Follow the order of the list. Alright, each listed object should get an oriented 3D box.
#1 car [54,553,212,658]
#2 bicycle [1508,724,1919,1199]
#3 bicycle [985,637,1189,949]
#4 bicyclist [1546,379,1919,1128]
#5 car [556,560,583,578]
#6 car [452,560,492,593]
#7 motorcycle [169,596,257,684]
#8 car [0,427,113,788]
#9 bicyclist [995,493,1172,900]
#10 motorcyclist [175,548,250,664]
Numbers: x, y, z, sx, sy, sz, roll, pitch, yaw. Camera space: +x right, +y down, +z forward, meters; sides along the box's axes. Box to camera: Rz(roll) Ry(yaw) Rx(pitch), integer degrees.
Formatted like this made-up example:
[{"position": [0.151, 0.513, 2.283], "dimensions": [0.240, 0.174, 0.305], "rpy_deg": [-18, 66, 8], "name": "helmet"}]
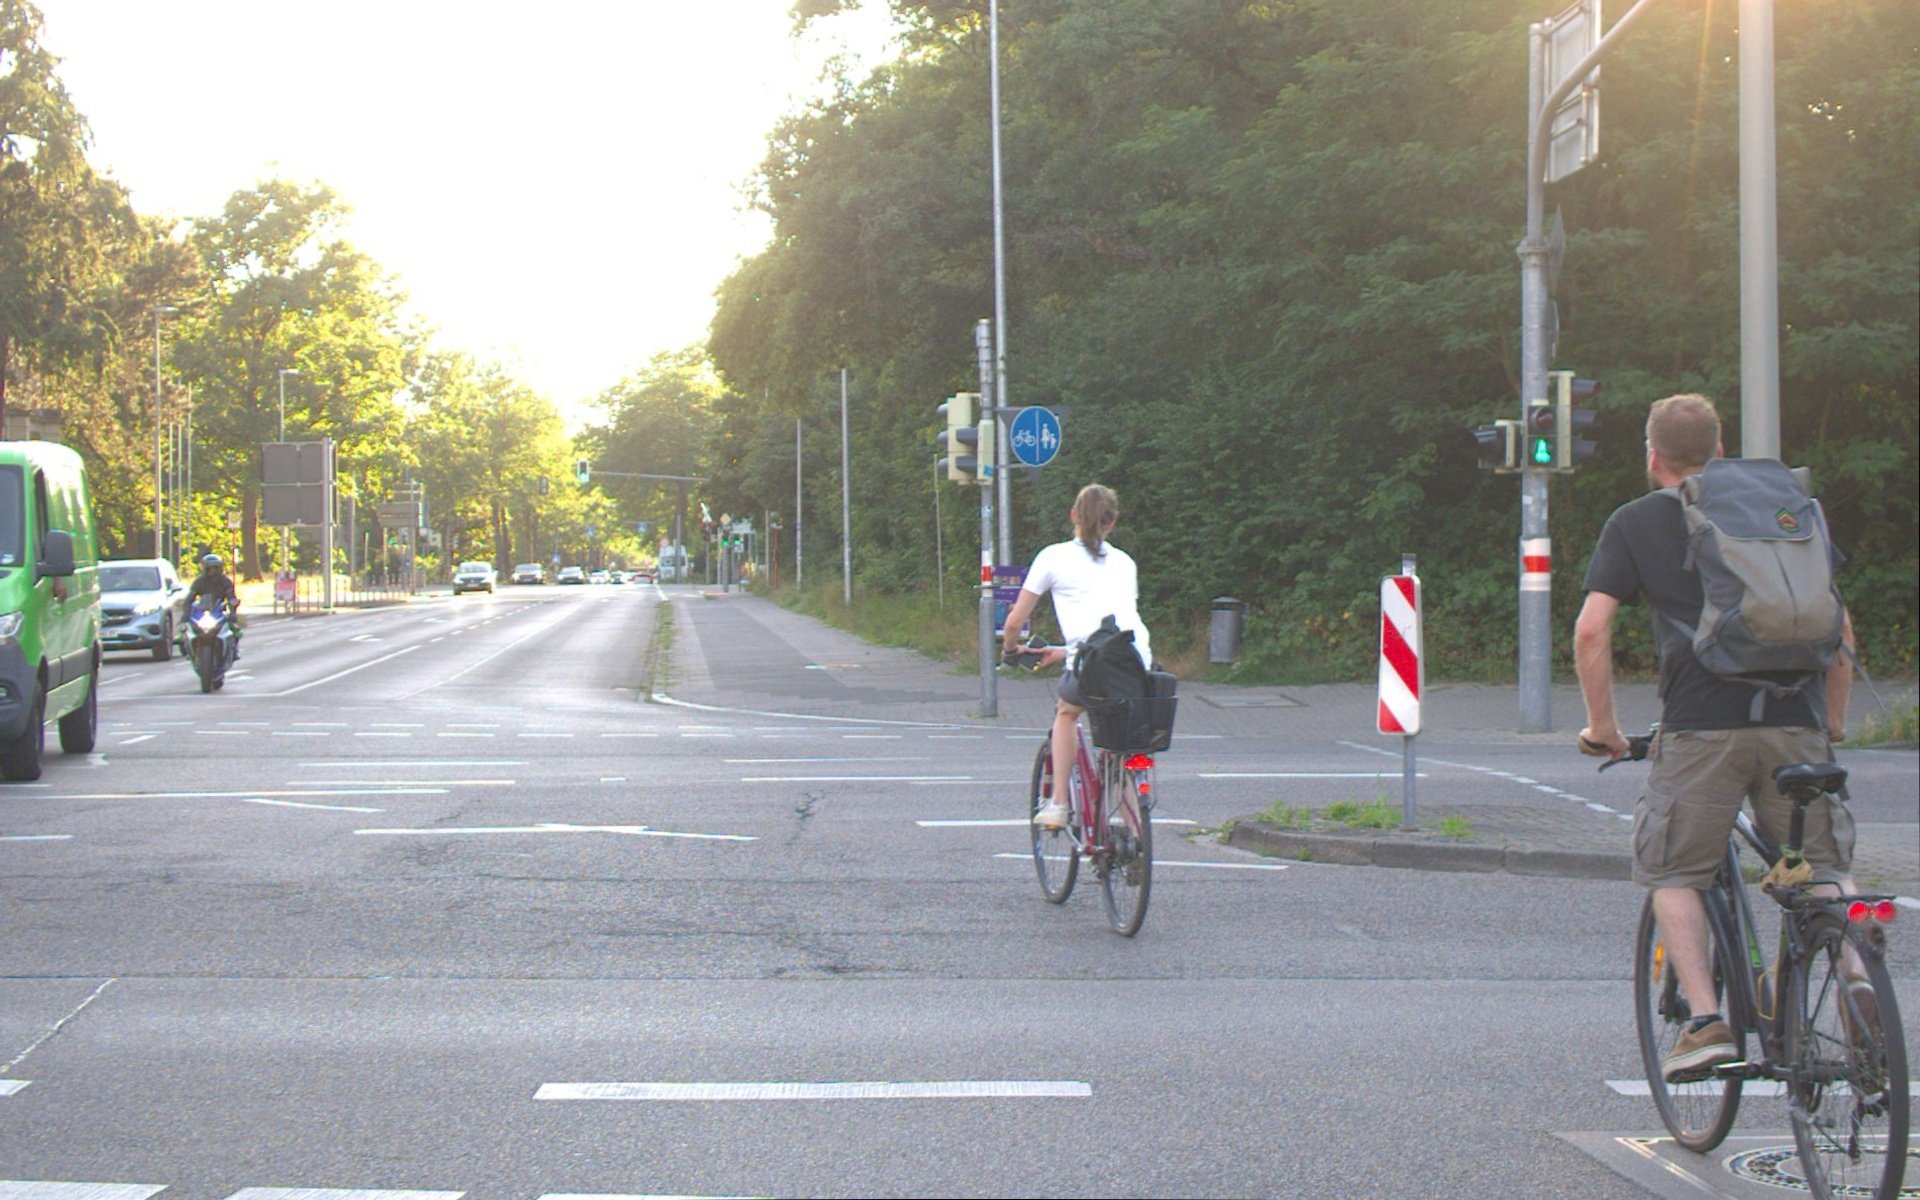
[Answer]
[{"position": [-13.477, 0.062, 56.240], "dimensions": [1.764, 1.630, 4.513], "rpy_deg": [0, 1, -4], "name": "car"}, {"position": [1.826, 0.863, 7.979], "dimensions": [0.698, 1.059, 1.825], "rpy_deg": [1, 0, -4], "name": "bicycle"}, {"position": [0.489, 0.743, 13.977], "dimensions": [0.613, 1.134, 1.884], "rpy_deg": [1, 1, -4], "name": "bicycle"}, {"position": [1.826, 0.340, 8.052], "dimensions": [0.698, 1.661, 0.798], "rpy_deg": [1, 0, -4], "name": "bicyclist"}, {"position": [-29.266, -2.328, 257.659], "dimensions": [1.993, 1.262, 4.001], "rpy_deg": [0, 1, -6], "name": "car"}, {"position": [-22.120, -1.071, 155.781], "dimensions": [1.770, 1.469, 3.777], "rpy_deg": [0, 1, -8], "name": "car"}, {"position": [-8.806, 0.460, 40.601], "dimensions": [0.754, 0.998, 1.879], "rpy_deg": [0, 1, -4], "name": "motorcycle"}, {"position": [-7.314, 0.026, 24.444], "dimensions": [2.038, 2.270, 5.943], "rpy_deg": [0, 1, -9], "name": "car"}, {"position": [0.486, 0.373, 13.856], "dimensions": [0.603, 1.580, 0.910], "rpy_deg": [0, 0, -4], "name": "bicyclist"}, {"position": [-8.803, 0.070, 40.510], "dimensions": [0.749, 1.353, 0.704], "rpy_deg": [-1, 0, -4], "name": "motorcyclist"}]
